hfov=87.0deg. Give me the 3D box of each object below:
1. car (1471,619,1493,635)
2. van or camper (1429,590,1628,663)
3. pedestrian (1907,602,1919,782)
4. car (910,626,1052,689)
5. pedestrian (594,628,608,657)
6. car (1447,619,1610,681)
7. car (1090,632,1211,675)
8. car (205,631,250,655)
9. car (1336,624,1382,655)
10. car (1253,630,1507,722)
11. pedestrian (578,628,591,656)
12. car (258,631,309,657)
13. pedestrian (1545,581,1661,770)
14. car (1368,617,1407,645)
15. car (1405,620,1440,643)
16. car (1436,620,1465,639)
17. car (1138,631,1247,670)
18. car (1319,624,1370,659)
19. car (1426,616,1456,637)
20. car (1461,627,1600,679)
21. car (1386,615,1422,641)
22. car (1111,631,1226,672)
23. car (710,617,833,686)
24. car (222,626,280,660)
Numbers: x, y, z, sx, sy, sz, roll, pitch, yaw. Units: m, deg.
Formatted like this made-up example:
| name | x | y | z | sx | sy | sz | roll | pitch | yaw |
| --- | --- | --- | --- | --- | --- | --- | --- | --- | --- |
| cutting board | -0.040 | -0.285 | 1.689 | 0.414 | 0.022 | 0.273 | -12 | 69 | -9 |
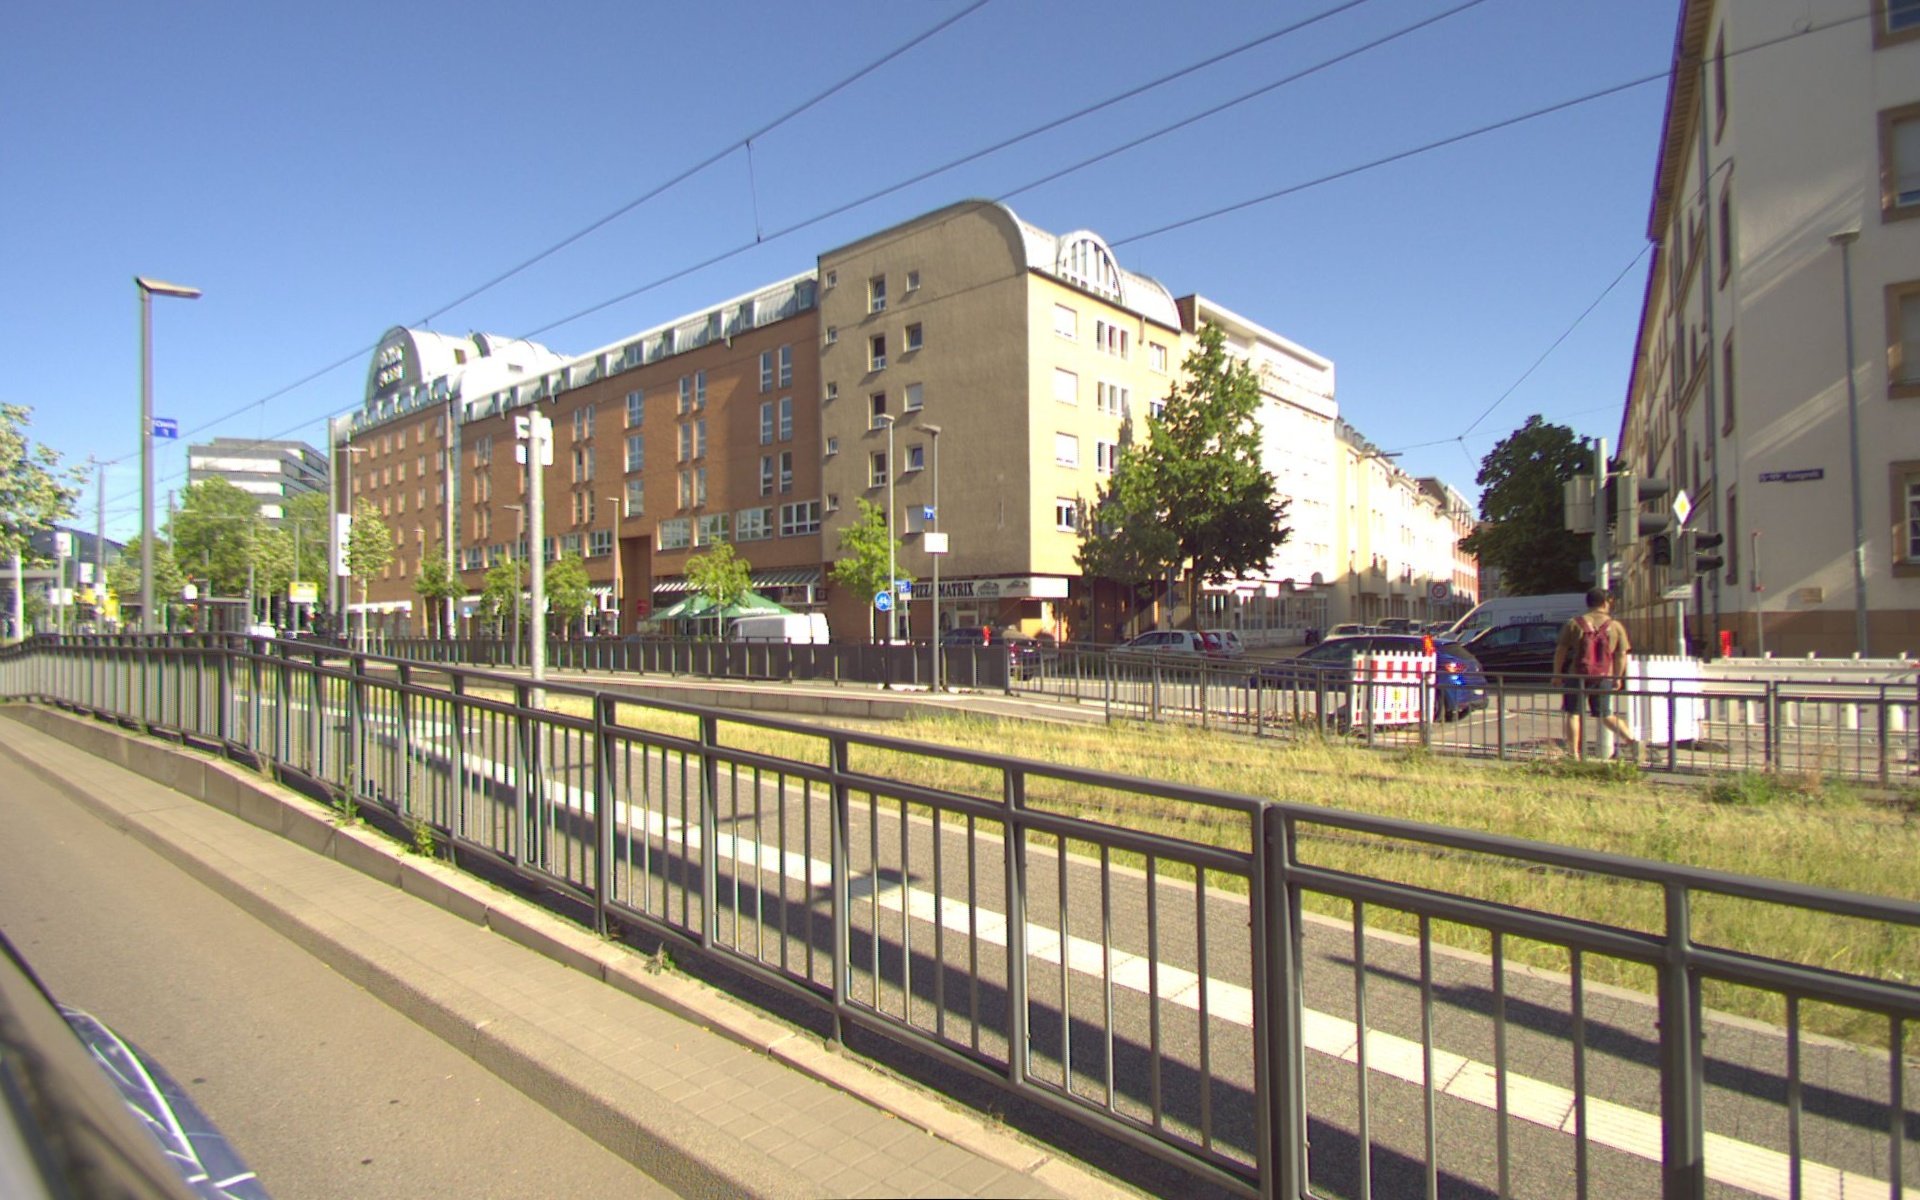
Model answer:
| name | x | y | z | sx | sy | sz | roll | pitch | yaw |
| --- | --- | --- | --- | --- | --- | --- | --- | --- | --- |
| car | 57.479 | 2.951 | 111.341 | 1.949 | 1.674 | 3.958 | -2 | -2 | 30 |
| van or camper | 19.927 | 0.967 | 35.727 | 5.933 | 2.419 | 1.979 | -1 | -2 | 30 |
| pedestrian | 8.693 | 0.782 | 8.346 | 0.897 | 1.548 | 0.867 | -1 | -1 | 1 |
| car | 0.577 | 1.671 | 30.212 | 3.997 | 1.773 | 1.796 | -2 | -2 | 40 |
| pedestrian | -22.694 | 2.672 | 63.947 | 0.644 | 1.854 | 0.614 | -2 | -3 | 41 |
| car | 15.066 | 1.298 | 26.910 | 3.661 | 1.533 | 1.673 | -2 | -2 | 32 |
| car | 6.906 | 1.914 | 36.794 | 3.980 | 1.462 | 1.769 | -1 | -2 | 28 |
| car | -56.003 | 3.234 | 77.362 | 3.998 | 1.696 | 1.973 | -1 | 0 | 41 |
| car | 22.080 | 2.153 | 55.918 | 1.947 | 1.674 | 3.962 | -1 | -2 | 28 |
| car | 6.989 | 1.236 | 17.037 | 3.651 | 1.387 | 1.557 | -2 | -4 | 41 |
| pedestrian | -24.928 | 2.761 | 67.186 | 0.644 | 1.854 | 0.614 | -2 | -2 | 39 |
| car | -47.351 | 3.036 | 70.805 | 3.998 | 1.696 | 1.973 | -1 | 0 | 41 |
| pedestrian | 6.473 | 0.727 | 10.225 | 0.906 | 1.794 | 0.858 | -2 | -1 | 32 |
| car | 26.759 | 1.937 | 63.276 | 1.947 | 1.674 | 3.962 | -1 | -2 | 28 |
| car | 34.528 | 2.344 | 75.459 | 1.949 | 1.674 | 3.958 | -2 | -2 | 30 |
| car | 43.070 | 2.600 | 88.889 | 1.949 | 1.674 | 3.958 | -2 | -2 | 30 |
| car | 9.333 | 2.014 | 40.673 | 3.980 | 1.462 | 1.769 | -1 | -2 | 28 |
| car | 19.687 | 2.095 | 51.759 | 1.947 | 1.674 | 3.962 | -1 | -2 | 28 |
| car | 40.336 | 2.219 | 84.860 | 1.949 | 1.674 | 3.958 | -2 | -2 | 30 |
| car | 17.785 | 1.631 | 31.597 | 3.654 | 1.533 | 1.673 | -2 | -2 | 32 |
| car | 30.125 | 1.881 | 68.659 | 1.947 | 1.674 | 3.962 | -1 | -2 | 28 |
| car | 7.979 | 1.949 | 38.692 | 3.980 | 1.462 | 1.769 | -1 | -2 | 28 |
| car | -7.254 | 1.900 | 38.363 | 1.969 | 2.388 | 5.653 | 0 | -2 | -41 |
| car | -41.205 | 2.456 | 58.803 | 4.086 | 1.808 | 1.801 | -1 | 0 | 40 |
